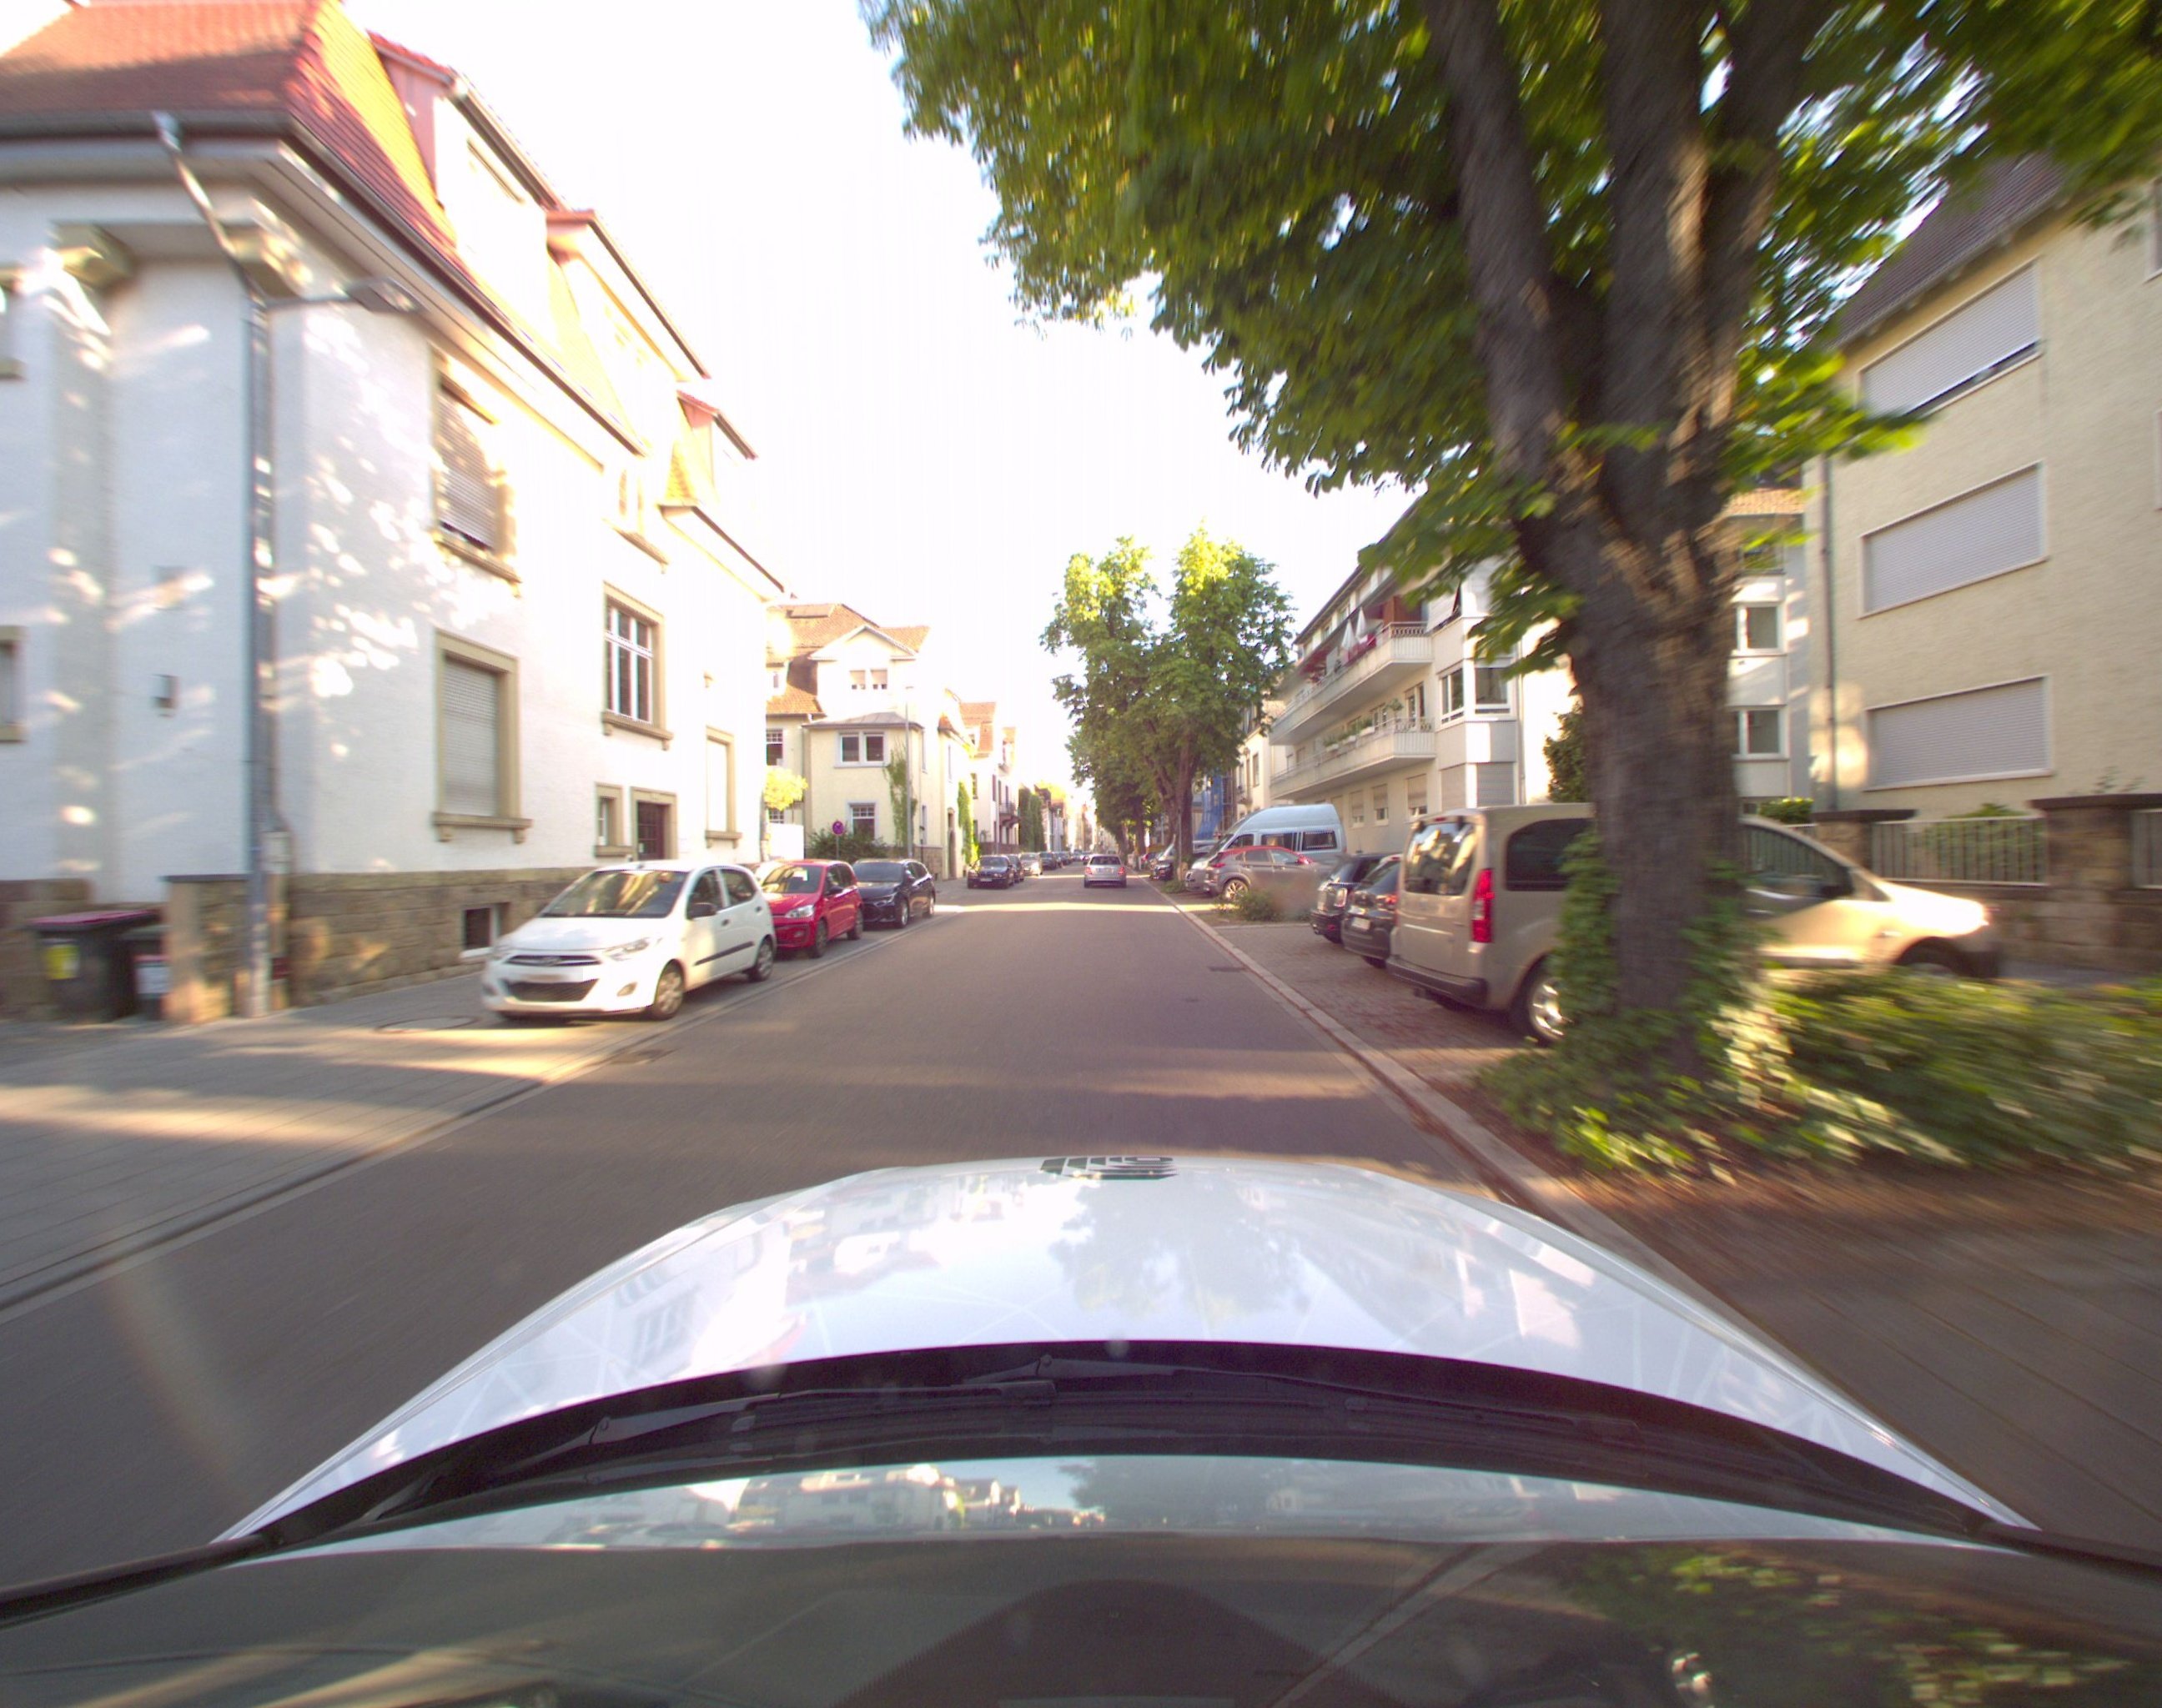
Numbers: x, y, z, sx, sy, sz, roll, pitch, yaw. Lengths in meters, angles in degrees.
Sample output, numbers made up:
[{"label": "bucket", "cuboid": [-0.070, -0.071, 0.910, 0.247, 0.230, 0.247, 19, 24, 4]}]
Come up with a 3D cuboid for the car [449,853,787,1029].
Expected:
[{"label": "car", "cuboid": [-4.719, 0.763, 8.979, 1.576, 1.520, 3.706, 0, 0, 0]}]

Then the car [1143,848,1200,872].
[{"label": "car", "cuboid": [6.477, 0.423, 58.748, 3.970, 1.492, 1.852, -3, 0, 3]}]

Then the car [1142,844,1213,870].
[{"label": "car", "cuboid": [6.649, 0.212, 56.348, 4.700, 1.535, 1.852, -3, 0, 1]}]

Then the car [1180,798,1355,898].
[{"label": "car", "cuboid": [5.870, -0.198, 26.073, 5.078, 2.902, 2.076, -2, 0, 0]}]

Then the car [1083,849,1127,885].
[{"label": "car", "cuboid": [1.065, 0.548, 34.900, 1.777, 1.437, 3.853, 0, 0, 2]}]

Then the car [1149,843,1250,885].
[{"label": "car", "cuboid": [5.271, 0.424, 36.540, 4.170, 1.723, 1.762, -1, 0, -6]}]

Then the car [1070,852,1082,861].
[{"label": "car", "cuboid": [-0.813, 0.366, 127.008, 1.647, 1.445, 3.962, 0, 0, 2]}]

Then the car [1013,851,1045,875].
[{"label": "car", "cuboid": [-3.325, 0.534, 52.304, 1.647, 1.447, 4.007, 0, 0, 2]}]

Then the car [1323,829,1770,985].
[{"label": "car", "cuboid": [5.281, 0.560, 9.624, 4.289, 1.541, 1.758, -2, 0, -2]}]

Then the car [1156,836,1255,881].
[{"label": "car", "cuboid": [5.934, 0.209, 39.190, 4.456, 2.013, 1.896, -1, 0, -1]}]

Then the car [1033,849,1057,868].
[{"label": "car", "cuboid": [-2.901, 0.368, 66.267, 1.647, 1.485, 3.766, 0, 0, 2]}]

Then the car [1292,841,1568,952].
[{"label": "car", "cuboid": [5.100, 0.588, 12.274, 3.390, 1.427, 1.759, -2, 0, 1]}]

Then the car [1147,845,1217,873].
[{"label": "car", "cuboid": [6.312, 0.334, 51.322, 4.140, 1.539, 1.851, -3, 0, 1]}]

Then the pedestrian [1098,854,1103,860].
[{"label": "pedestrian", "cuboid": [6.069, 0.866, 253.042, 1.215, 1.721, 1.505, 0, 0, 5]}]

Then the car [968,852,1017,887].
[{"label": "car", "cuboid": [-3.920, 0.653, 36.910, 1.704, 1.470, 4.633, 0, 0, 0]}]

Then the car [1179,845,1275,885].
[{"label": "car", "cuboid": [6.101, 0.466, 34.244, 3.708, 1.554, 1.639, -1, 0, 0]}]

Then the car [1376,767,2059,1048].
[{"label": "car", "cuboid": [4.916, 0.376, 6.727, 4.289, 1.885, 1.757, -2, -1, -2]}]

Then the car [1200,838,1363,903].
[{"label": "car", "cuboid": [5.654, 0.447, 23.310, 4.175, 1.568, 1.759, -3, 0, 0]}]

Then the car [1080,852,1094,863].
[{"label": "car", "cuboid": [0.825, 0.437, 113.607, 1.765, 1.448, 4.001, -2, 0, 1]}]

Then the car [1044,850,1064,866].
[{"label": "car", "cuboid": [-2.528, 0.386, 76.790, 1.787, 1.461, 4.776, 0, 0, -1]}]

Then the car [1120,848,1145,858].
[{"label": "car", "cuboid": [9.126, -0.158, 144.049, 4.171, 1.475, 1.853, -3, 0, 4]}]

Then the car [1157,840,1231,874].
[{"label": "car", "cuboid": [6.267, 0.167, 45.582, 3.931, 1.683, 1.708, -2, 1, 4]}]

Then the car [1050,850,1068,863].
[{"label": "car", "cuboid": [-2.340, 0.281, 88.229, 1.643, 1.421, 4.101, 0, 0, 2]}]

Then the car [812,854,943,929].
[{"label": "car", "cuboid": [-4.430, 0.749, 18.485, 1.647, 1.454, 4.633, 0, 0, 2]}]

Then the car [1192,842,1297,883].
[{"label": "car", "cuboid": [6.311, 0.340, 31.719, 3.708, 1.431, 1.758, -1, -1, 0]}]

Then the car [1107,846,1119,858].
[{"label": "car", "cuboid": [4.329, -0.281, 108.996, 1.617, 1.570, 3.682, -1, 0, 2]}]

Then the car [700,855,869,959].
[{"label": "car", "cuboid": [-4.757, 0.763, 13.612, 1.577, 1.477, 3.703, 0, 0, -2]}]

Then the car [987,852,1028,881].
[{"label": "car", "cuboid": [-3.799, 0.623, 42.626, 1.647, 1.415, 4.168, 0, 0, 1]}]
